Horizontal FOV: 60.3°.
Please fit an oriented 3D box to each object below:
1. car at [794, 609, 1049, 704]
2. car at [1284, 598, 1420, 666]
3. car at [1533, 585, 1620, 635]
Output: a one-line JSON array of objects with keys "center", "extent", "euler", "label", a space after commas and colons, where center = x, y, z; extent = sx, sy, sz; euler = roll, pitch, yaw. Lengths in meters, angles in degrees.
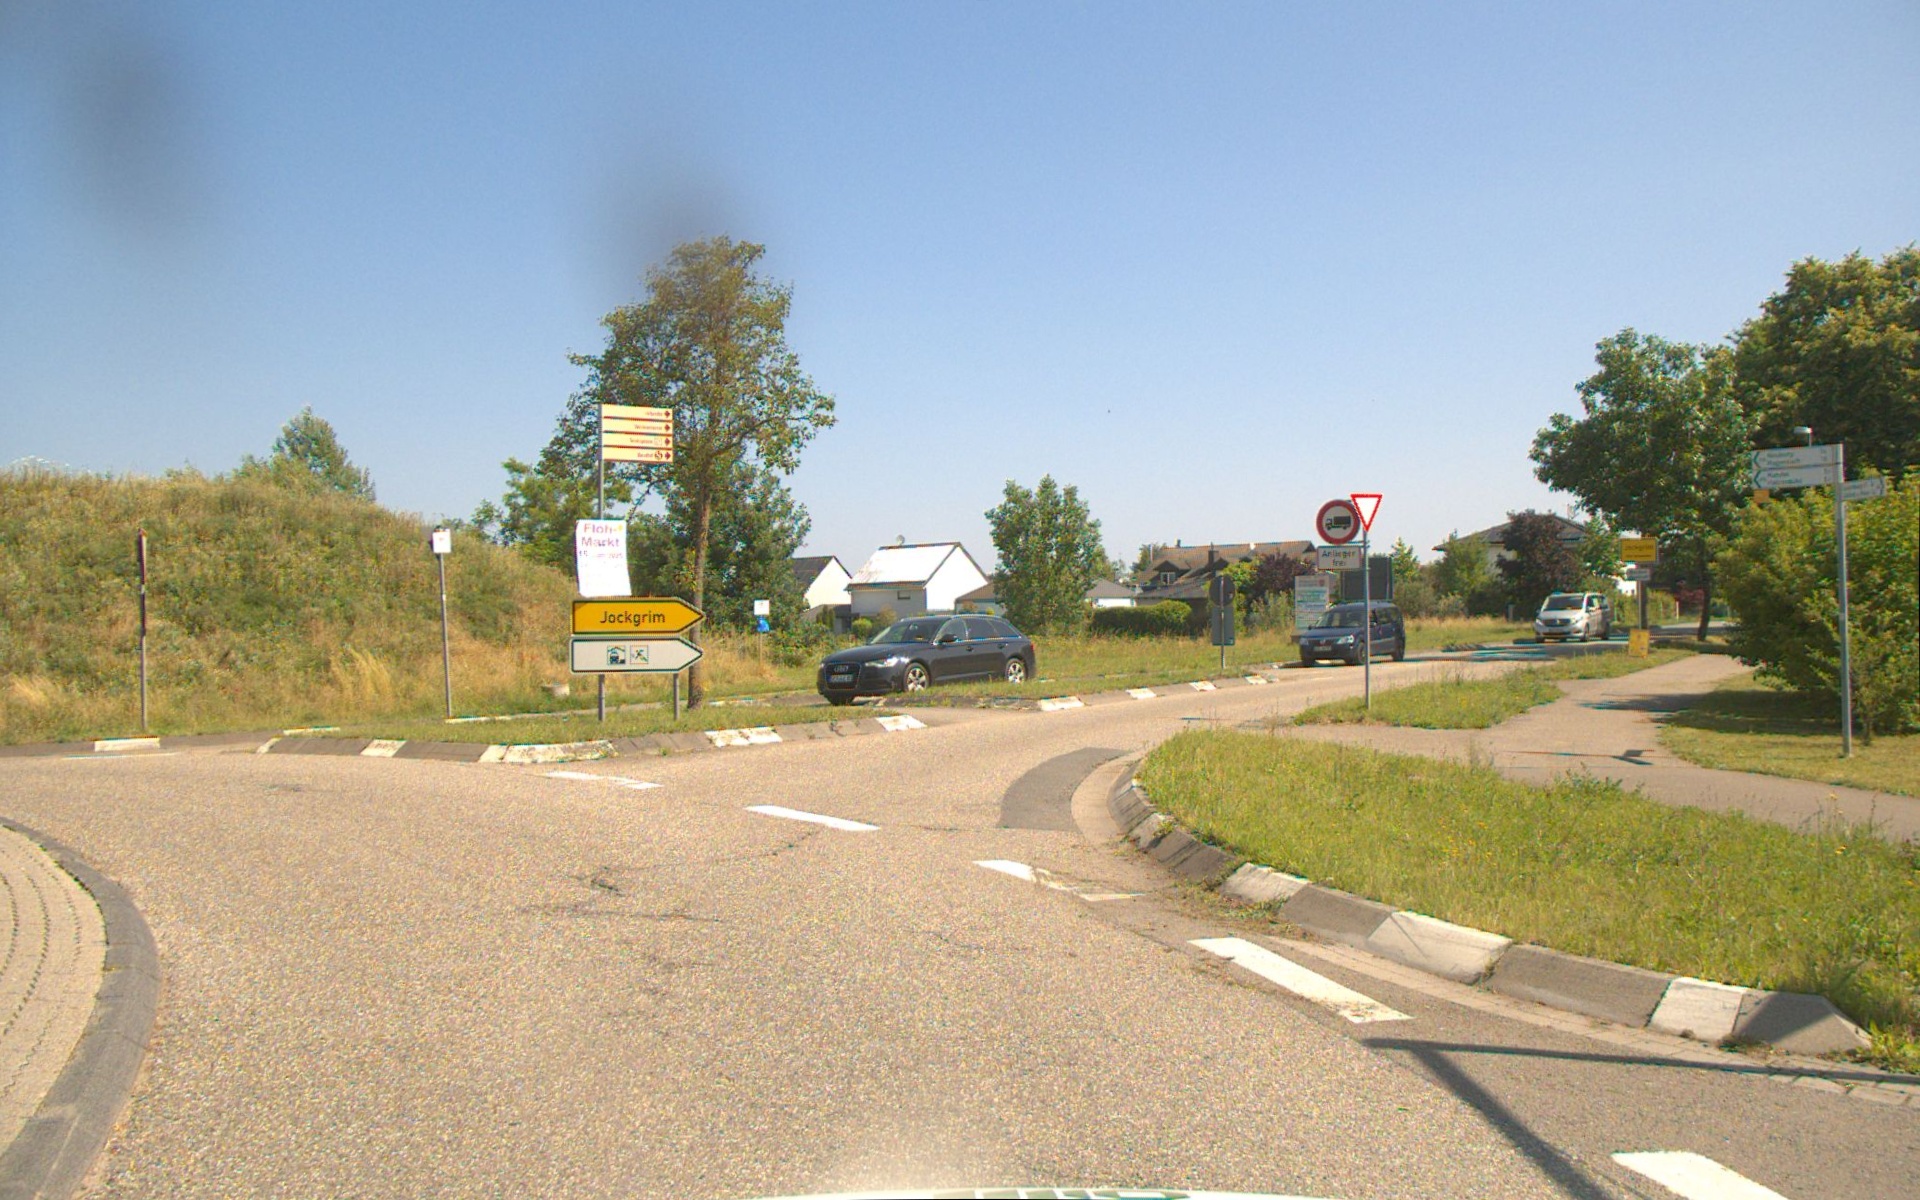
[{"center": [-0.569, 0.947, 28.968], "extent": [1.885, 1.459, 4.894], "euler": [-5, -3, 35], "label": "car"}, {"center": [10.705, 0.853, 44.984], "extent": [1.780, 1.669, 4.635], "euler": [-6, -4, 37], "label": "car"}, {"center": [23.943, 0.367, 64.114], "extent": [1.959, 1.847, 5.184], "euler": [-1, -1, 34], "label": "car"}]
